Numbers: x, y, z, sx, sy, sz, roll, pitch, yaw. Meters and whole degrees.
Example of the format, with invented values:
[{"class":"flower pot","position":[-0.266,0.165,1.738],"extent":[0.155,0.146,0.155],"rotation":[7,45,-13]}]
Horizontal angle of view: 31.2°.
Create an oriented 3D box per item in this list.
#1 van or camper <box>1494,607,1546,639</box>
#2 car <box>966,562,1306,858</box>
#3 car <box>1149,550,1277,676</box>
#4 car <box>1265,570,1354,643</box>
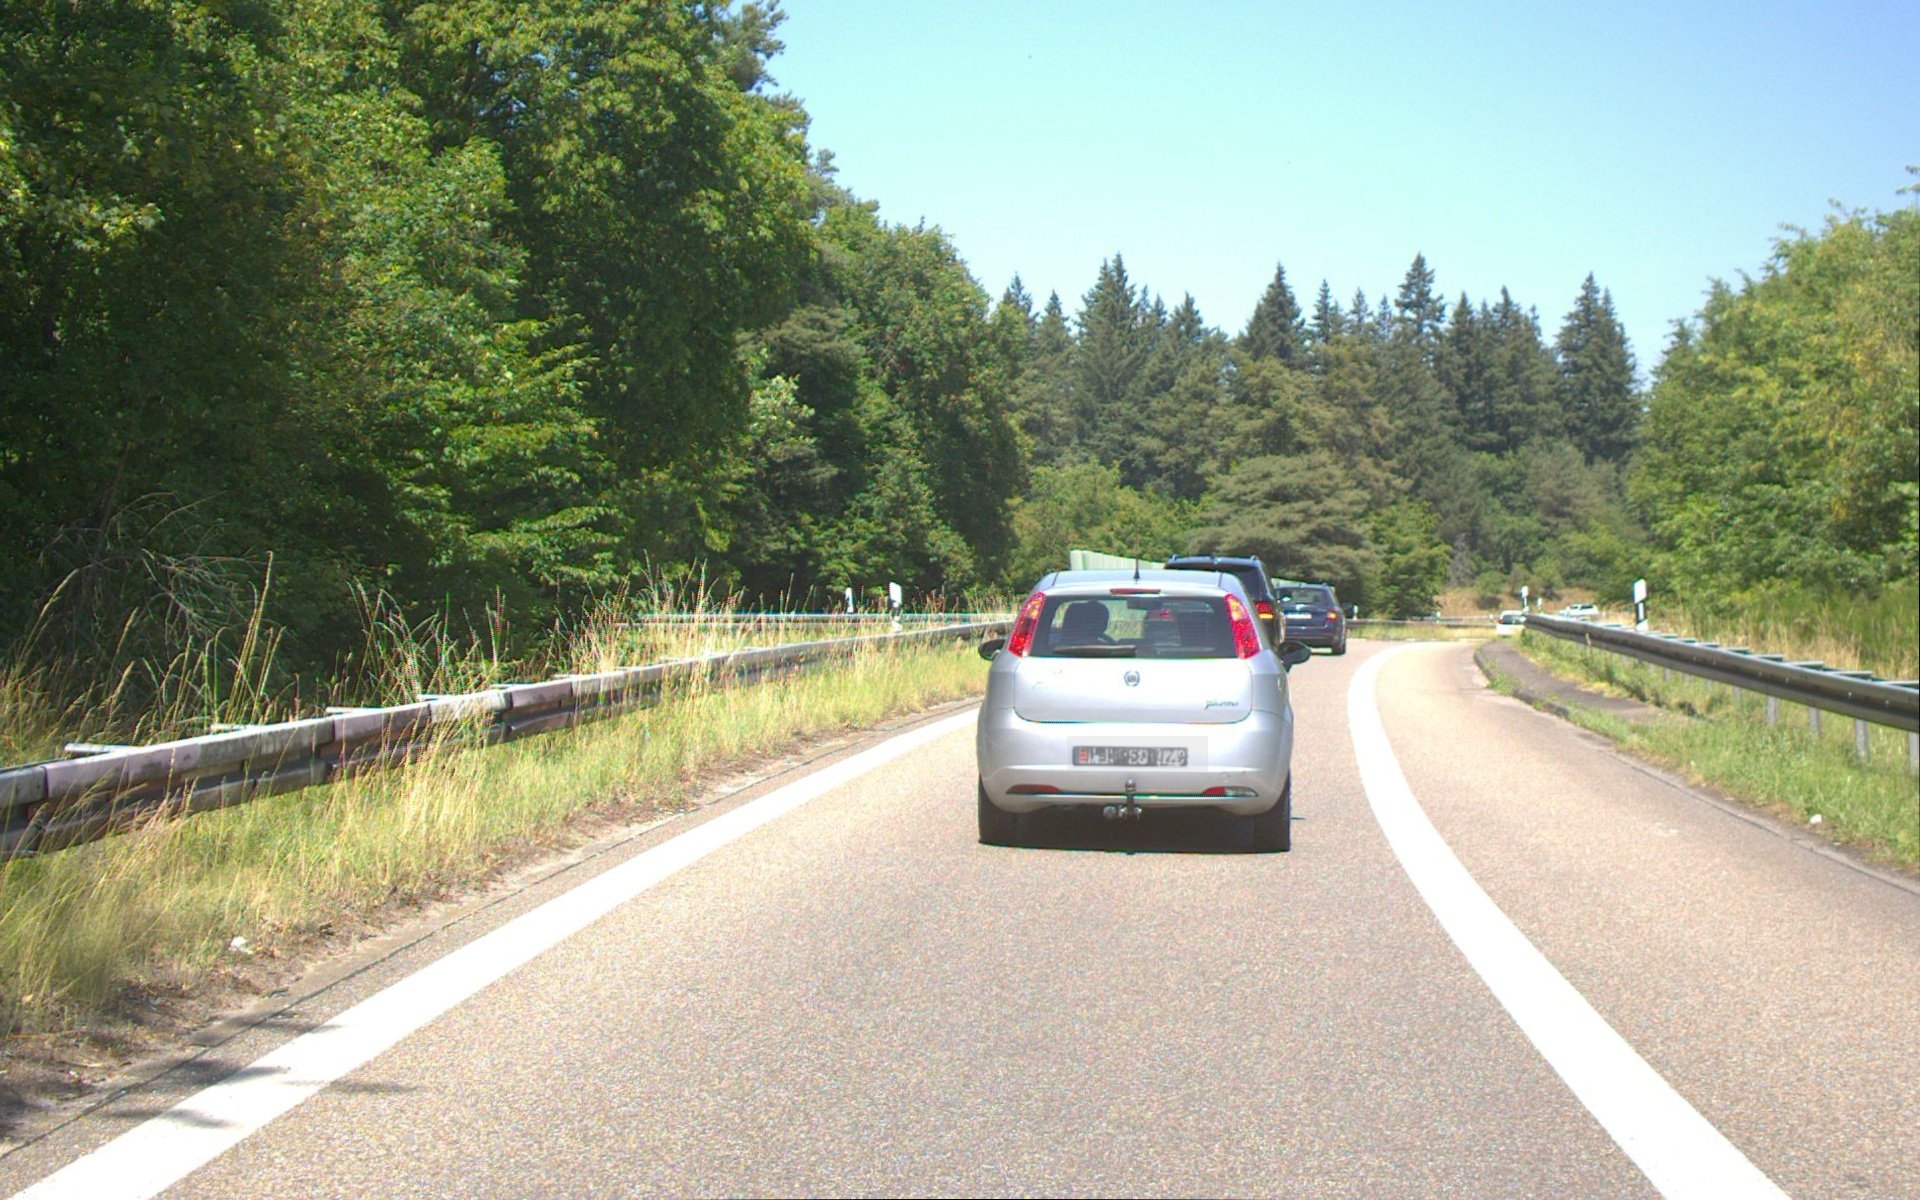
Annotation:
[{"class":"van or camper","position":[27.317,1.121,167.690],"extent":[1.809,1.481,3.996],"rotation":[0,0,20]},{"class":"car","position":[1.019,0.550,19.204],"extent":[1.706,1.477,3.397],"rotation":[1,0,4]},{"class":"car","position":[3.546,0.166,48.194],"extent":[1.706,1.670,3.397],"rotation":[1,0,4]},{"class":"car","position":[7.177,0.123,70.787],"extent":[1.706,1.443,3.397],"rotation":[1,0,4]}]
